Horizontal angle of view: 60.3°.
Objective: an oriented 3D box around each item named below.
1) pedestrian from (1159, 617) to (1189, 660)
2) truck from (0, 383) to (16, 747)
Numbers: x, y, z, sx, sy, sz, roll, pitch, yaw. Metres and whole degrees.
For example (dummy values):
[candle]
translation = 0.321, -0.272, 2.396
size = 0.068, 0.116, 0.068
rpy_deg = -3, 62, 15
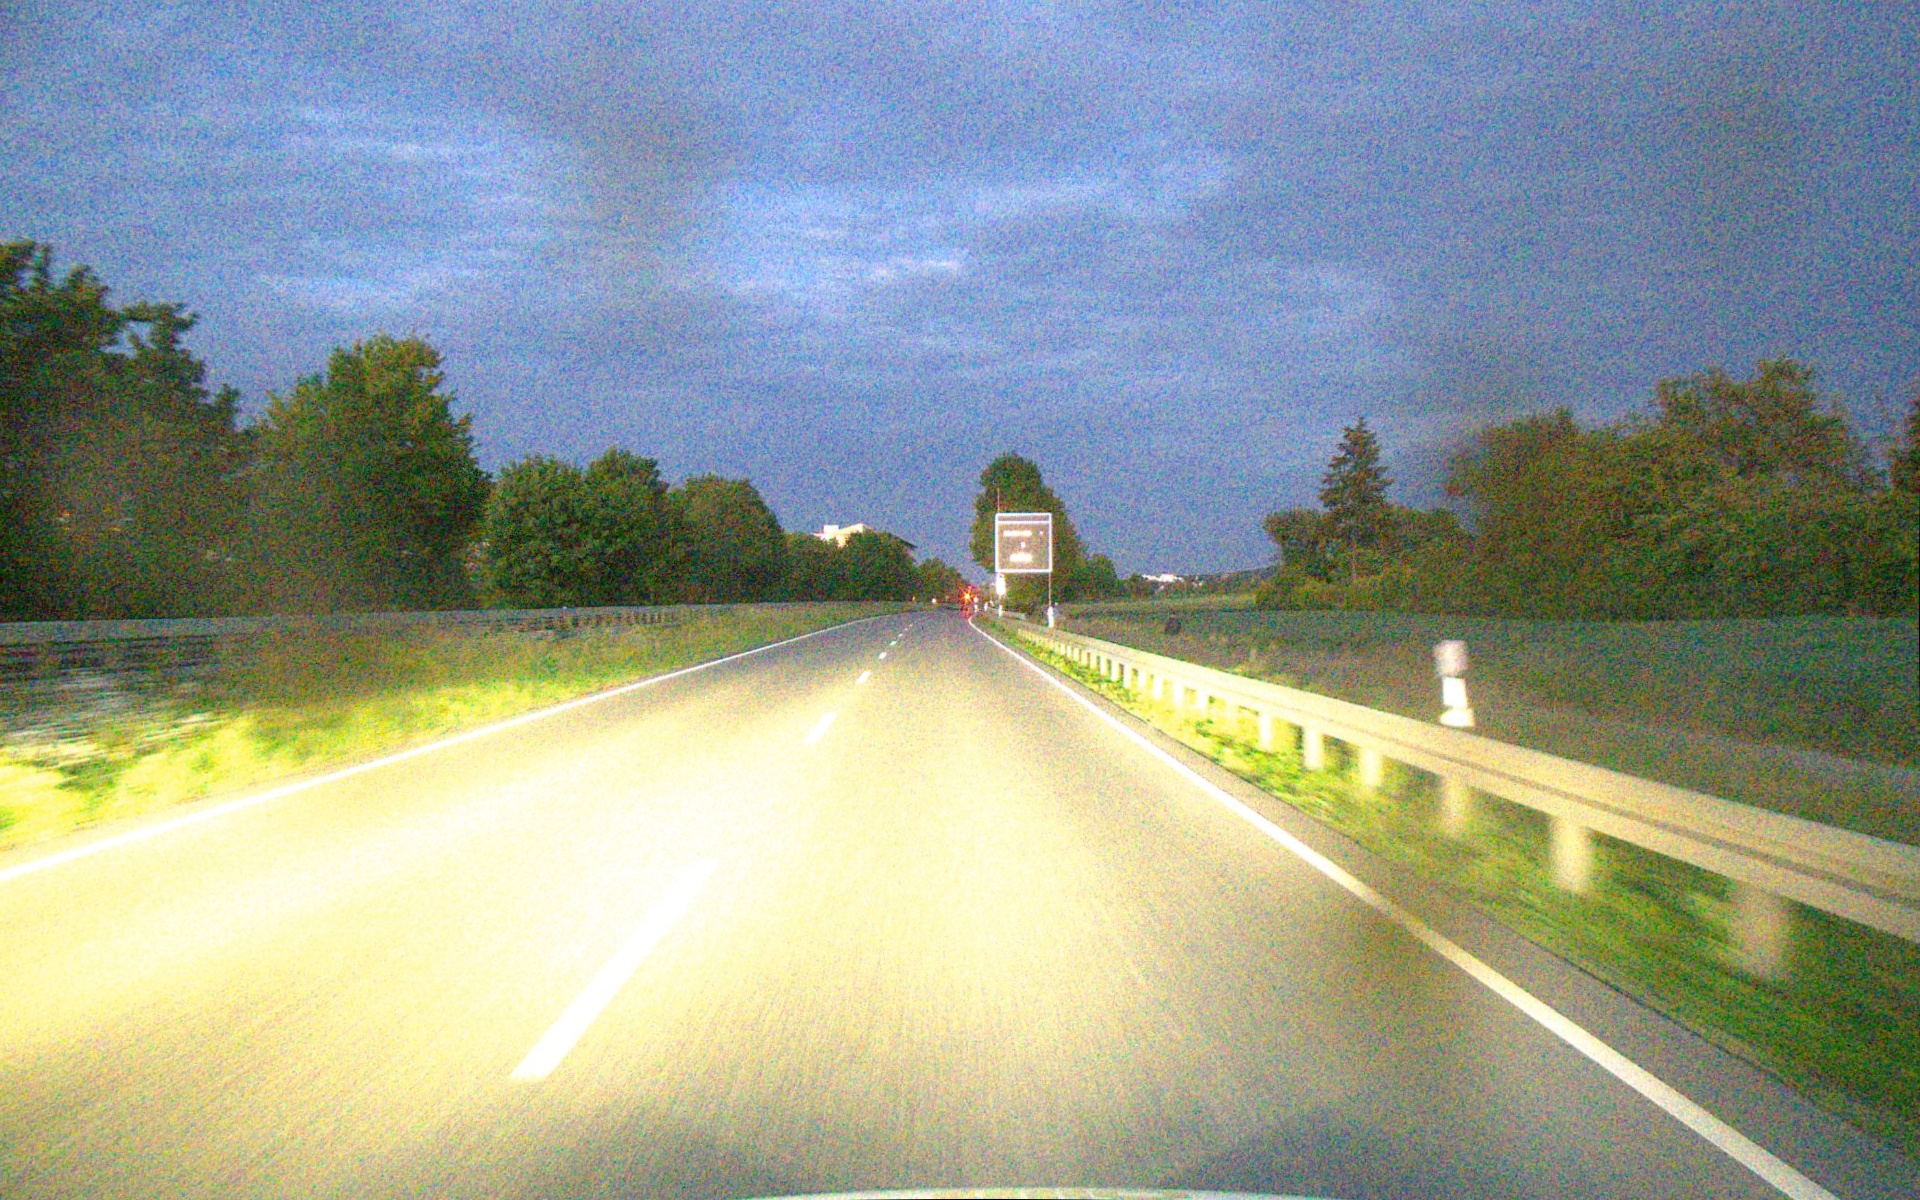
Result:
[pedestrian]
translation = 8.510, 1.543, 65.789
size = 1.040, 1.672, 1.118
rpy_deg = 1, 0, -1
[truck]
translation = -15.514, -0.555, 18.252
size = 3.137, 5.348, 12.605
rpy_deg = 1, 0, -1
